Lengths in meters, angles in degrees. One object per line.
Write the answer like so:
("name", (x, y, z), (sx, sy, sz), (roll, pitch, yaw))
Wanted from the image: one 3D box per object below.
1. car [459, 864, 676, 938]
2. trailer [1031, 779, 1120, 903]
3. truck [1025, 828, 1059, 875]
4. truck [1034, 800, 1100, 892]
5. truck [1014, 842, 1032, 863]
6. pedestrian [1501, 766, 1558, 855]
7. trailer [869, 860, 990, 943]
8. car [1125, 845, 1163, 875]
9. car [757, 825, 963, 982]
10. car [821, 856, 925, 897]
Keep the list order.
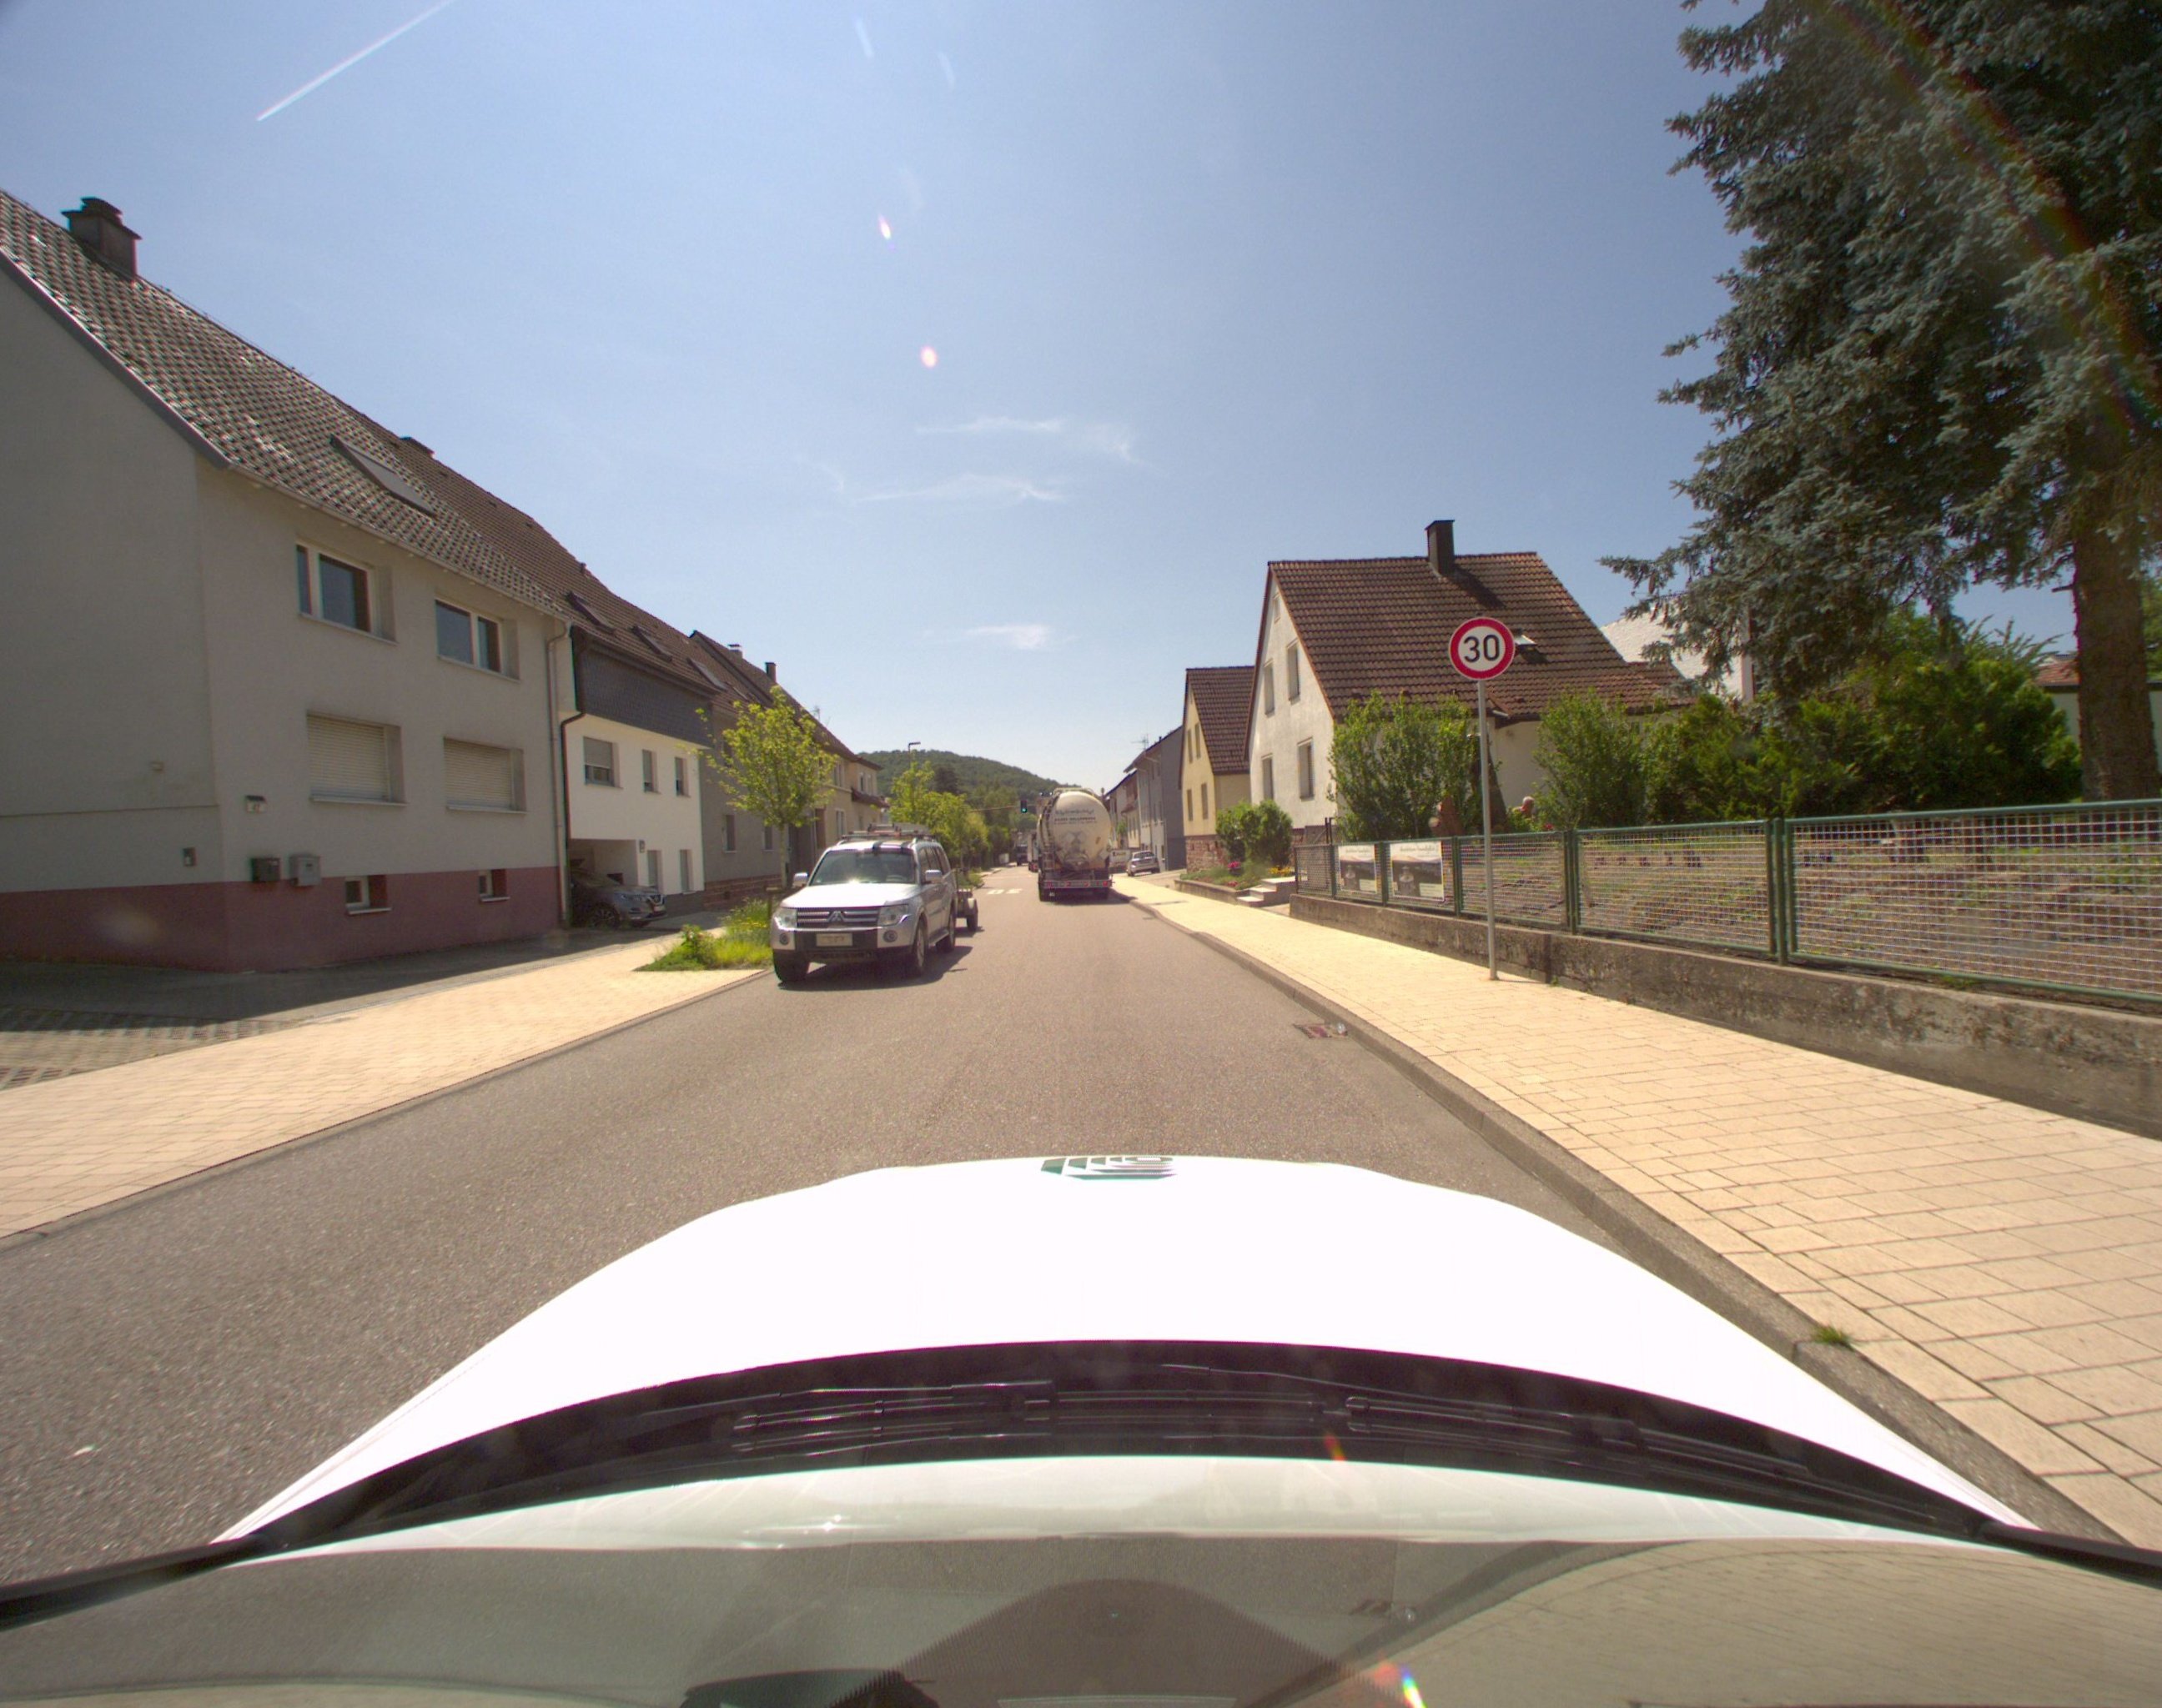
("car", (-12.166, 1.076, 19.506), (3.977, 1.545, 1.831), (-2, 0, -2))
("trailer", (-0.438, -0.413, 31.771), (2.790, 4.001, 10.312), (-1, 0, -3))
("truck", (-4.342, -0.150, 87.915), (2.844, 4.679, 11.309), (0, -2, -7))
("truck", (-0.767, -0.331, 38.396), (2.802, 3.937, 6.092), (-1, 0, -3))
("truck", (-9.784, -0.284, 137.968), (2.722, 3.371, 8.626), (-1, 0, -2))
("pedestrian", (8.596, -0.829, 15.630), (0.603, 1.615, 0.552), (-7, 0, -2))
("trailer", (-2.926, 0.861, 16.635), (1.569, 1.396, 4.402), (-2, 0, 0))
("car", (3.763, 0.367, 49.530), (1.786, 1.541, 4.518), (-7, 0, -1))
("car", (-3.004, 0.616, 12.160), (1.884, 1.861, 4.575), (-1, -1, -1))
("car", (-9.764, 1.027, 38.467), (4.385, 1.750, 1.876), (-2, 0, -4))
